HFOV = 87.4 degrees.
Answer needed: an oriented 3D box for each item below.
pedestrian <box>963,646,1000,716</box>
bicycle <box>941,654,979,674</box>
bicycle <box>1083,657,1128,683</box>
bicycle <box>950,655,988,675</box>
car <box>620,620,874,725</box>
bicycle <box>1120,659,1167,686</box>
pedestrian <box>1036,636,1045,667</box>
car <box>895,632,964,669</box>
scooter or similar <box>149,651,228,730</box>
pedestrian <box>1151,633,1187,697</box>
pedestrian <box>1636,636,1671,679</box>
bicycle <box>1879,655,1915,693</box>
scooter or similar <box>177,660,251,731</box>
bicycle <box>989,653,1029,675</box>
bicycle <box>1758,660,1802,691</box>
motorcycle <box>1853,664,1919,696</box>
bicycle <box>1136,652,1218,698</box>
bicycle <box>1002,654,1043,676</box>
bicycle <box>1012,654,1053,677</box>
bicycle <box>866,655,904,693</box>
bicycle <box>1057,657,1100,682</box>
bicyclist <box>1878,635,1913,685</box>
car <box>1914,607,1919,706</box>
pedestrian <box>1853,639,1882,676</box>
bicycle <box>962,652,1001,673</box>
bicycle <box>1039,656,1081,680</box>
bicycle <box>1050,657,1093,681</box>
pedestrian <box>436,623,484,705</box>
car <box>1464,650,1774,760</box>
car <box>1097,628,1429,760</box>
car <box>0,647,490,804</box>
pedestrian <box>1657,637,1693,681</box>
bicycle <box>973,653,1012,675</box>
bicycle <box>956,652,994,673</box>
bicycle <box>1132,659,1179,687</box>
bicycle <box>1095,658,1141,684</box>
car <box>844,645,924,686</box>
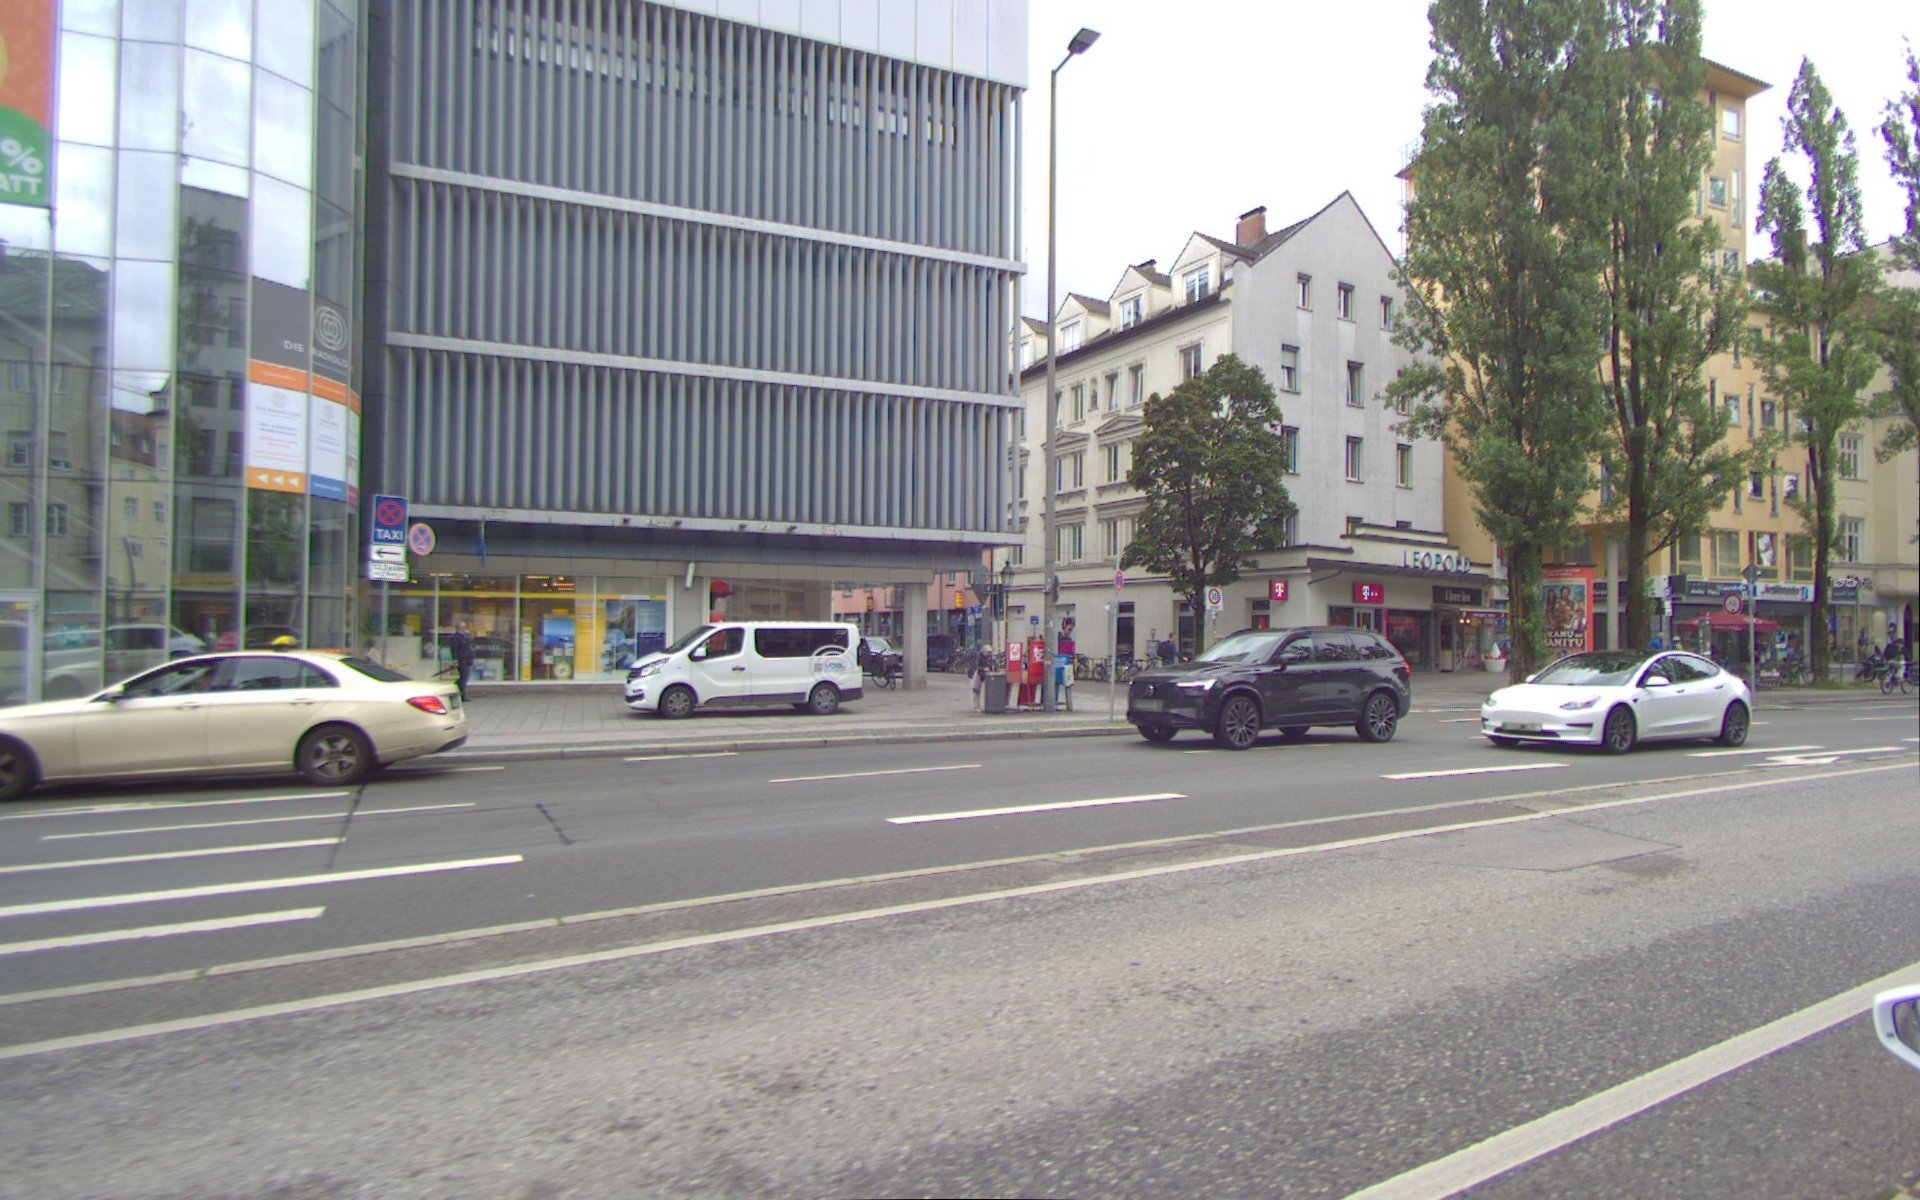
[{"bbox_3d":[0.481,1.787,22.384,0.648,1.514,0.543,1,-2,-29],"label":"pedestrian"},{"bbox_3d":[-0.003,3.147,49.513,1.857,0.976,0.456,1,-2,-28],"label":"bicycle"},{"bbox_3d":[5.673,2.718,39.145,1.857,0.976,0.456,1,-2,-28],"label":"bicycle"},{"bbox_3d":[0.442,3.146,48.780,1.857,0.976,0.456,1,-2,-28],"label":"bicycle"},{"bbox_3d":[-4.558,1.487,21.597,5.043,2.040,1.988,1,-2,-25],"label":"car"},{"bbox_3d":[6.899,2.727,37.731,1.857,0.976,0.456,1,-2,-28],"label":"bicycle"},{"bbox_3d":[3.997,2.549,49.675,0.346,1.533,0.308,1,-2,-30],"label":"pedestrian"},{"bbox_3d":[-1.636,2.629,52.907,1.975,1.888,4.207,1,-2,-28],"label":"car"},{"bbox_3d":[-12.617,1.462,16.445,0.989,1.240,0.252,2,-2,-41],"label":"scooter or similar"},{"bbox_3d":[6.463,1.995,31.044,0.818,1.923,0.859,0,-2,-11],"label":"pedestrian"},{"bbox_3d":[27.153,2.253,39.342,0.752,1.647,0.838,2,-1,-23],"label":"pedestrian"},{"bbox_3d":[30.371,2.393,32.566,1.136,1.217,0.368,1,-2,-20],"label":"bicycle"},{"bbox_3d":[-12.994,1.644,17.505,0.251,1.188,0.992,-1,-2,42],"label":"scooter or similar"},{"bbox_3d":[2.226,2.898,45.773,1.857,0.976,0.456,1,-2,-28],"label":"bicycle"},{"bbox_3d":[27.367,2.506,33.515,1.857,0.976,0.456,1,-2,-28],"label":"bicycle"},{"bbox_3d":[34.294,2.926,37.021,0.482,1.050,2.038,2,-1,-41],"label":"motorcycle"},{"bbox_3d":[6.486,2.241,30.076,2.263,1.325,0.847,0,-2,-12],"label":"bicycle"},{"bbox_3d":[2.816,2.902,45.080,1.857,0.976,0.456,1,-2,-28],"label":"bicycle"},{"bbox_3d":[3.238,2.904,44.586,1.857,0.976,0.456,1,-2,-28],"label":"bicycle"},{"bbox_3d":[-2.277,2.211,30.351,0.548,1.097,1.816,1,-3,-24],"label":"bicycle"},{"bbox_3d":[4.900,2.870,41.511,1.857,0.976,0.456,1,-2,-28],"label":"bicycle"},{"bbox_3d":[30.339,1.934,32.561,0.822,1.613,0.501,1,-2,-21],"label":"bicyclist"},{"bbox_3d":[28.712,1.511,26.999,5.976,2.639,2.166,1,-2,-23],"label":"car"},{"bbox_3d":[39.590,2.515,43.826,0.803,1.582,0.633,1,-2,-20],"label":"pedestrian"},{"bbox_3d":[1.033,2.961,47.777,1.857,0.976,0.456,1,-2,-28],"label":"bicycle"},{"bbox_3d":[4.256,2.874,42.708,1.857,0.976,0.456,1,-2,-28],"label":"bicycle"},{"bbox_3d":[4.668,2.872,41.977,1.857,0.976,0.456,1,-2,-28],"label":"bicycle"},{"bbox_3d":[-11.560,1.474,23.252,0.891,1.859,0.861,1,-2,-22],"label":"pedestrian"},{"bbox_3d":[9.898,1.469,15.038,4.629,1.412,1.794,1,-2,-26],"label":"car"},{"bbox_3d":[4.678,1.330,15.379,4.920,1.739,2.010,1,-2,-28],"label":"car"},{"bbox_3d":[-8.058,1.307,11.173,4.905,1.488,1.856,1,-4,-19],"label":"car"},{"bbox_3d":[27.376,2.243,38.444,0.752,1.647,0.838,2,-1,-23],"label":"pedestrian"},{"bbox_3d":[1.514,2.996,47.046,1.857,0.976,0.456,1,-2,-28],"label":"bicycle"},{"bbox_3d":[0.744,2.997,48.275,1.857,0.976,0.456,1,-2,-28],"label":"bicycle"},{"bbox_3d":[7.245,2.698,37.236,1.857,0.976,0.456,1,-2,-28],"label":"bicycle"},{"bbox_3d":[6.045,2.716,38.439,1.857,0.976,0.456,1,-2,-28],"label":"bicycle"},{"bbox_3d":[-3.405,2.827,44.237,1.975,1.684,4.207,1,-2,-28],"label":"car"}]
